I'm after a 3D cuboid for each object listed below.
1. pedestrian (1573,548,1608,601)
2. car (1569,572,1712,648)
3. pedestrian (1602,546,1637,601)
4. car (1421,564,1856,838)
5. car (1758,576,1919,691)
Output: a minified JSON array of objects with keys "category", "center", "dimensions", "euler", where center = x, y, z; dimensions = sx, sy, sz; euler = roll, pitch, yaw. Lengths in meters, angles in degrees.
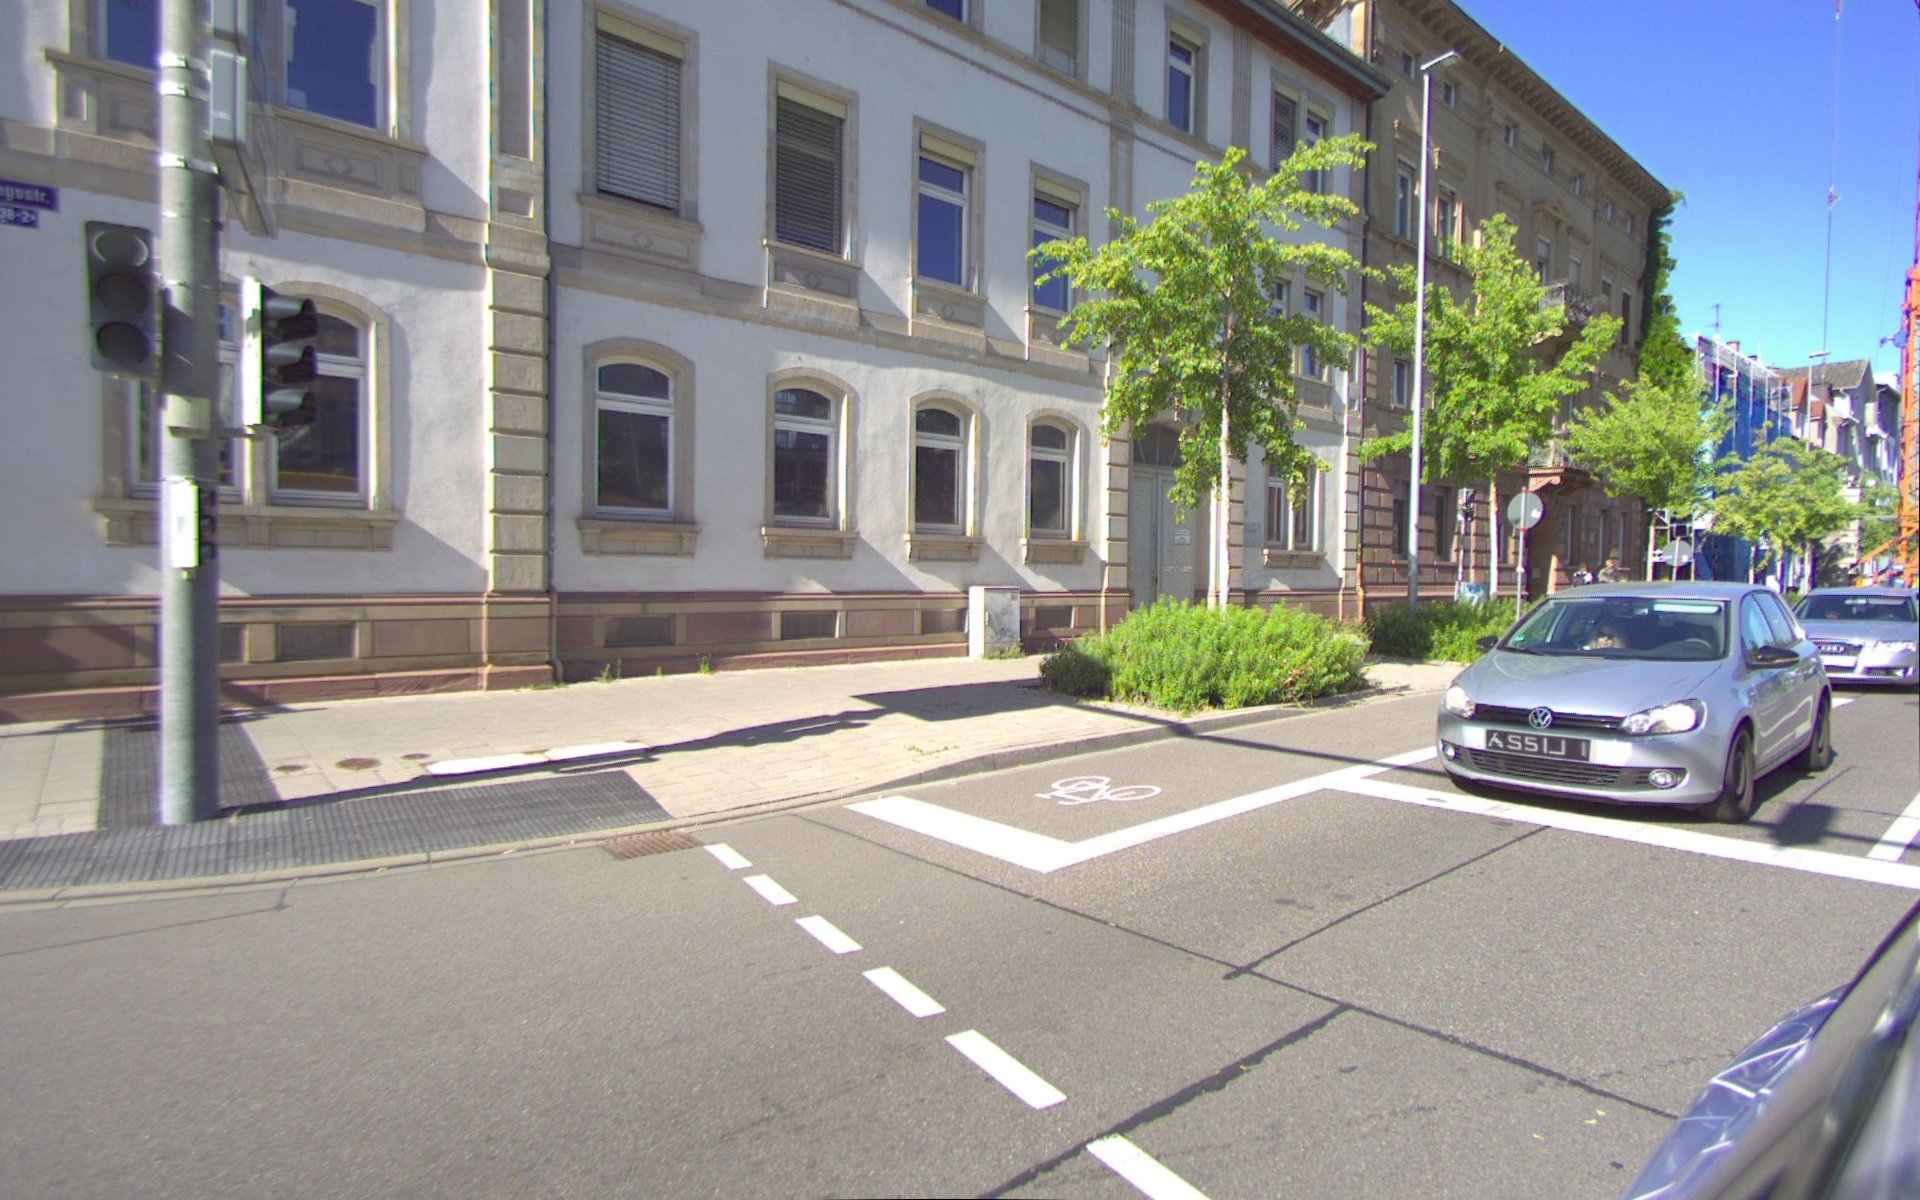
[{"category":"pedestrian","center":[18.977,-0.765,30.448],"dimensions":[0.891,1.581,0.668],"euler":[-1,1,-42]},{"category":"car","center":[15.010,0.153,22.254],"dimensions":[3.931,1.461,1.609],"euler":[-2,3,-41]},{"category":"pedestrian","center":[19.515,-0.785,29.928],"dimensions":[0.891,1.581,0.668],"euler":[-1,1,-42]},{"category":"car","center":[5.128,0.495,7.445],"dimensions":[3.931,1.492,1.701],"euler":[-2,2,-41]},{"category":"car","center":[13.217,0.385,14.720],"dimensions":[3.931,1.441,1.837],"euler":[-2,2,-41]}]
